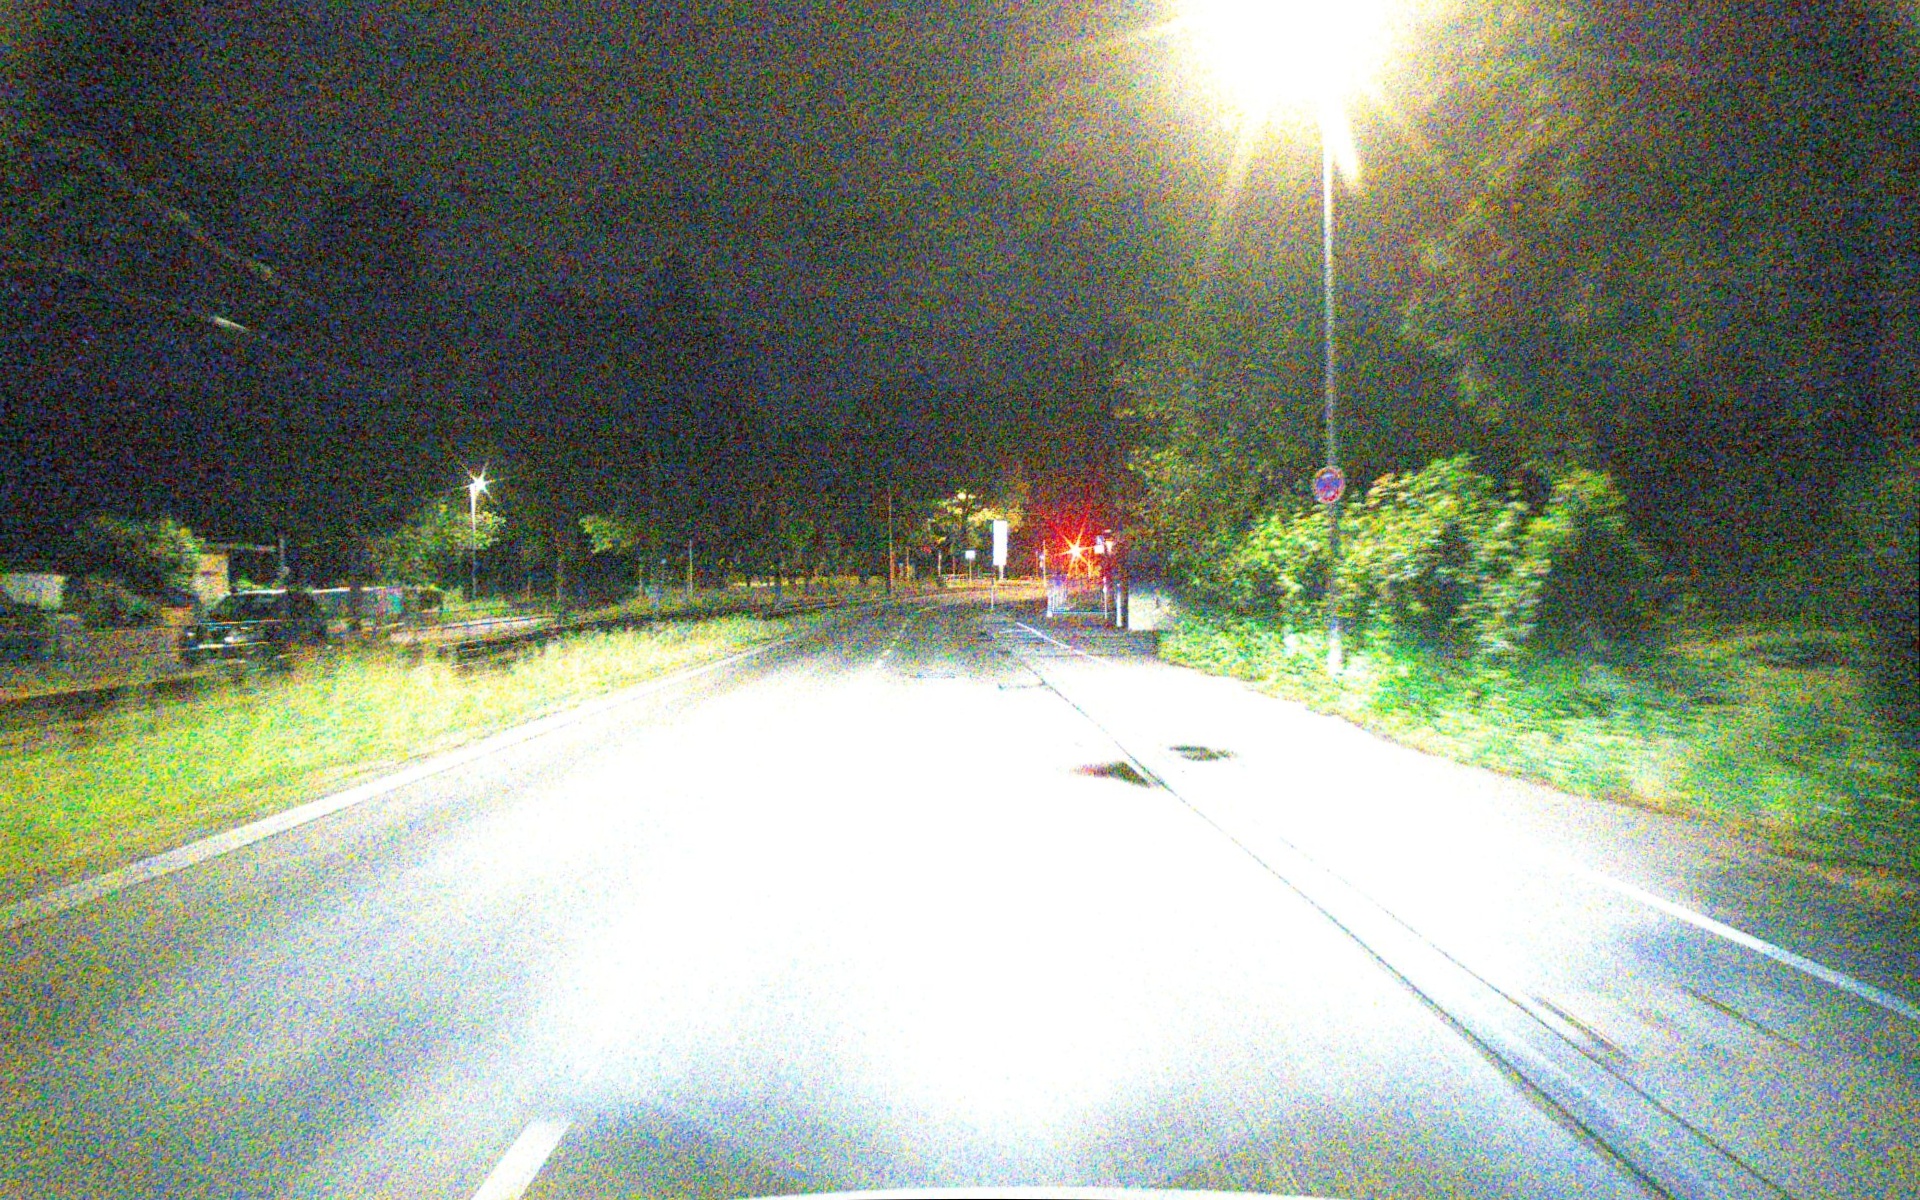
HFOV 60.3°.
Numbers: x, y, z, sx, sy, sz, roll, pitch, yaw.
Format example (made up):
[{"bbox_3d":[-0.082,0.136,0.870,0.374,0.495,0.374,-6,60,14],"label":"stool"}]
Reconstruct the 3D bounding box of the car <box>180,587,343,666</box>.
[{"bbox_3d":[-15.717,0.567,37.474,1.681,1.604,4.535,-2,0,0],"label":"car"}]

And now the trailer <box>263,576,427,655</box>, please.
[{"bbox_3d":[-15.704,0.361,42.638,1.983,1.811,5.674,-3,0,1],"label":"trailer"}]
